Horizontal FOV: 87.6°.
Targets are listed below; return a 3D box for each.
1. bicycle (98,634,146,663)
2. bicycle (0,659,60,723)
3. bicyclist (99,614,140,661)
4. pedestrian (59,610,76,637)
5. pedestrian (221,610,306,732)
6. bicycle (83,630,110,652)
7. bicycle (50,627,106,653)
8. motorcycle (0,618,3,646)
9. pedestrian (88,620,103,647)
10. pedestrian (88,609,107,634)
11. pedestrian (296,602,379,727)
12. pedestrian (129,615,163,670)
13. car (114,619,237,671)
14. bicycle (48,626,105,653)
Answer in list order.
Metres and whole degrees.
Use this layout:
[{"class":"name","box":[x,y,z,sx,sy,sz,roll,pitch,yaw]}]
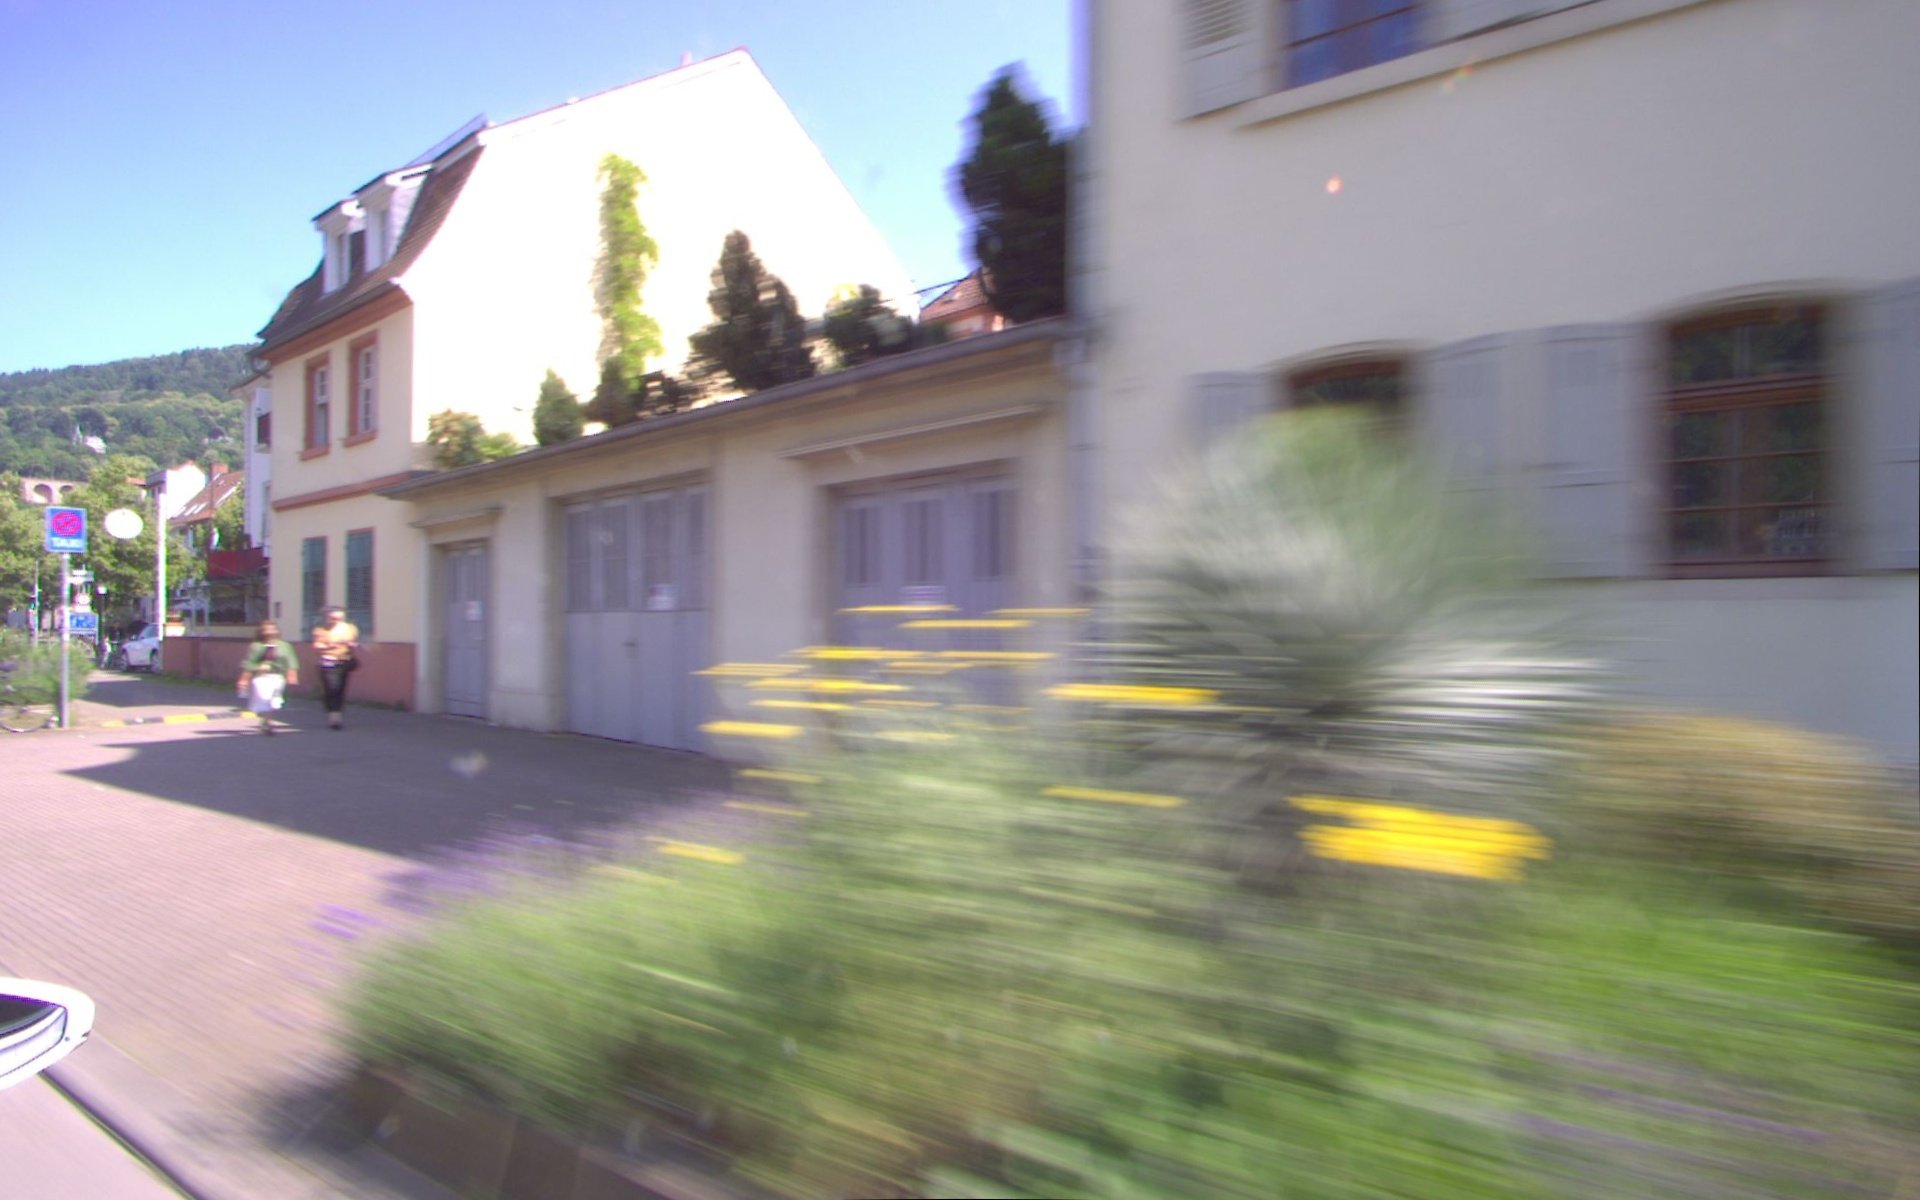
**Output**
[{"class":"bicycle","box":[-29.331,1.689,35.043,1.756,0.976,0.749,-1,-2,31]},{"class":"bicycle","box":[-13.827,1.270,13.968,0.495,0.889,1.808,1,-3,32]},{"class":"bicyclist","box":[-29.483,1.311,35.140,1.073,1.604,0.766,0,-1,30]},{"class":"pedestrian","box":[-55.727,1.488,62.528,0.699,1.674,0.703,-1,-1,44]},{"class":"pedestrian","box":[-9.555,0.956,13.742,0.687,1.615,0.759,0,-1,36]},{"class":"bicycle","box":[-44.137,2.094,51.204,0.587,1.081,2.057,0,-2,-27]},{"class":"bicycle","box":[-43.901,1.985,49.850,1.993,1.213,0.518,3,-2,-35]},{"class":"motorcycle","box":[-52.962,1.734,53.788,2.254,1.484,0.764,-1,-1,-6]},{"class":"pedestrian","box":[-49.053,1.913,56.817,0.681,1.536,0.458,0,-2,36]},{"class":"pedestrian","box":[-48.817,1.214,56.686,0.534,1.401,0.623,0,4,36]},{"class":"pedestrian","box":[-8.970,0.905,14.436,0.921,1.721,0.735,0,0,36]},{"class":"pedestrian","box":[-28.576,1.489,35.147,0.602,1.883,0.759,0,1,36]},{"class":"car","box":[-25.676,1.438,32.725,4.664,1.597,1.873,-1,-2,35]},{"class":"bicycle","box":[-43.603,1.954,49.441,1.980,1.213,0.518,4,-3,-35]}]
